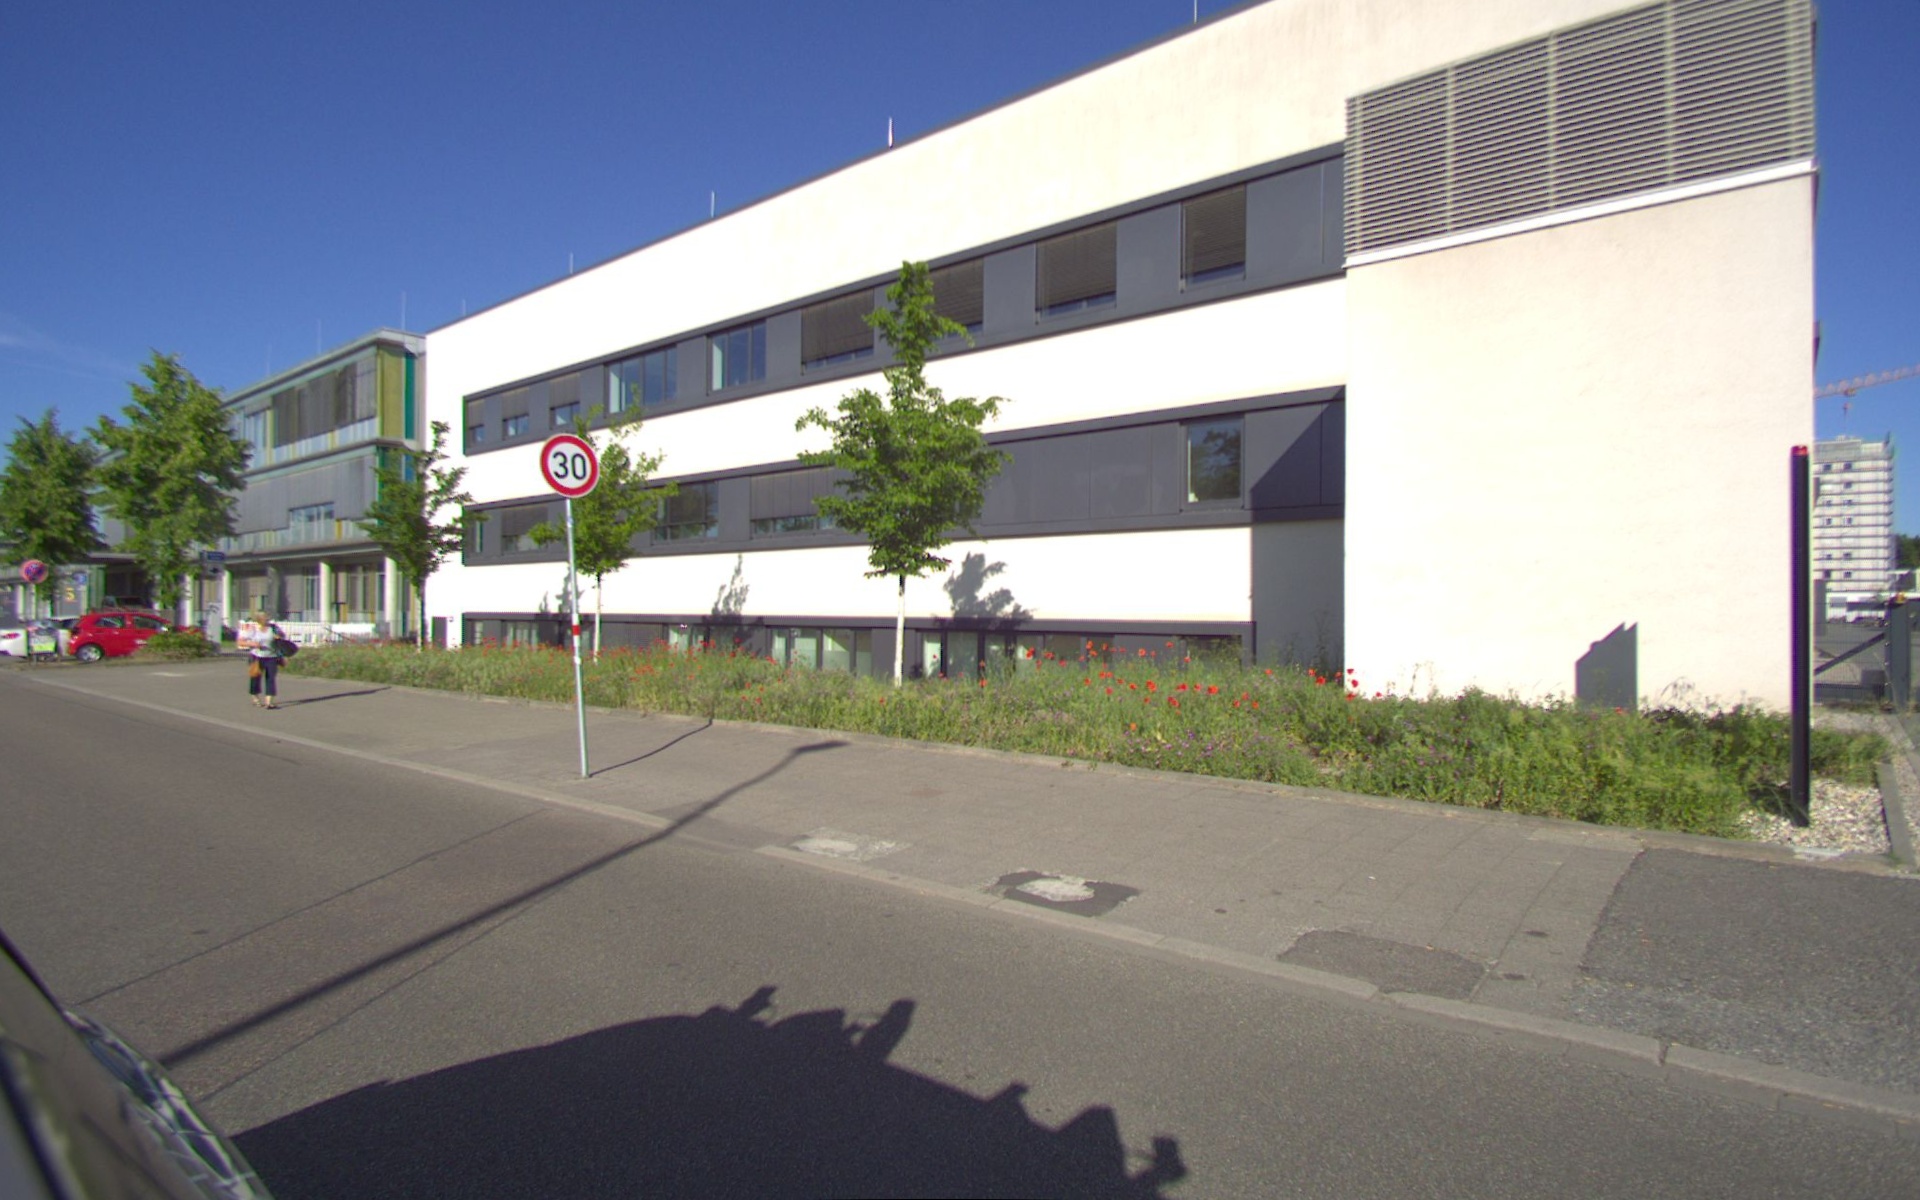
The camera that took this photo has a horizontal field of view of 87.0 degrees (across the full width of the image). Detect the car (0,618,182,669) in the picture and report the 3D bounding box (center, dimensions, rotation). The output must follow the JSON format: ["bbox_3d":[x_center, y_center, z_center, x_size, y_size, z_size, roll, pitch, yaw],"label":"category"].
[{"bbox_3d":[-27.336,1.308,31.689,1.699,1.377,4.464,-1,0,42],"label":"car"}]

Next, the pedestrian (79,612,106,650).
[{"bbox_3d":[-37.346,1.326,43.563,0.779,1.560,0.765,0,1,40],"label":"pedestrian"}]

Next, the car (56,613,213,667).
[{"bbox_3d":[-25.221,1.179,30.993,3.592,1.480,1.615,-1,0,-44],"label":"car"}]

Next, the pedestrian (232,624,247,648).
[{"bbox_3d":[-36.070,1.790,50.670,0.555,1.182,0.526,-1,-1,40],"label":"pedestrian"}]

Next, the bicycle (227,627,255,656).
[{"bbox_3d":[-28.531,1.643,40.141,1.860,1.120,0.529,-1,-2,42],"label":"bicycle"}]

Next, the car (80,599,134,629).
[{"bbox_3d":[-56.041,0.937,66.473,4.706,1.905,1.900,-1,-2,39],"label":"car"}]

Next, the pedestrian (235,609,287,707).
[{"bbox_3d":[-11.298,0.922,16.359,0.607,1.535,0.532,-1,0,41],"label":"pedestrian"}]
